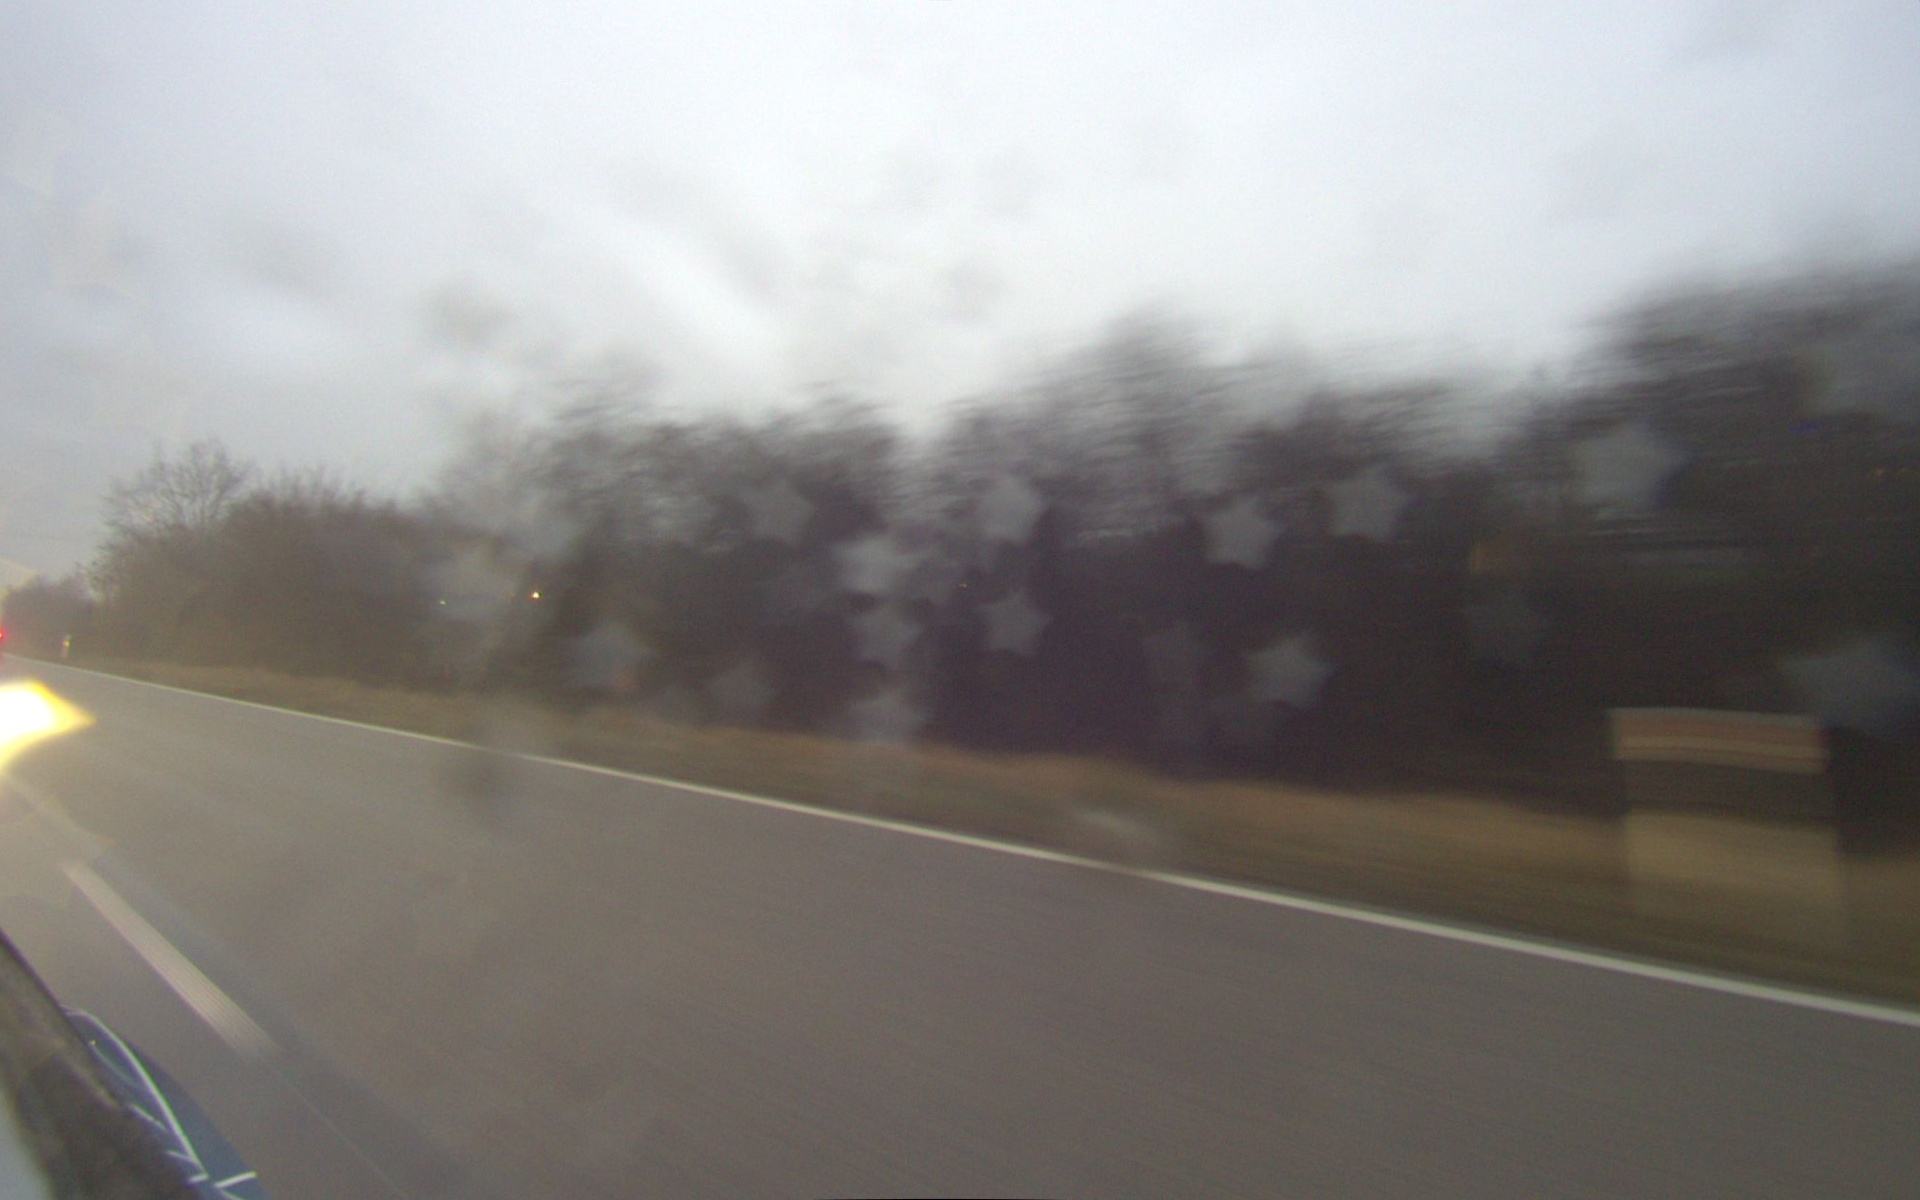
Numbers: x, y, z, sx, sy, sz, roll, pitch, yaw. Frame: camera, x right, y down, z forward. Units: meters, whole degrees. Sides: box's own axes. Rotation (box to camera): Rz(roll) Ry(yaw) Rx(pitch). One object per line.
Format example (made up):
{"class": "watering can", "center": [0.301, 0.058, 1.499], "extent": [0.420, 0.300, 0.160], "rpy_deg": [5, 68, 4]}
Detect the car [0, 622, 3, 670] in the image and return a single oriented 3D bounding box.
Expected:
{"class": "car", "center": [-37.388, 1.731, 38.044], "extent": [4.257, 1.764, 1.766], "rpy_deg": [-2, -2, 43]}
